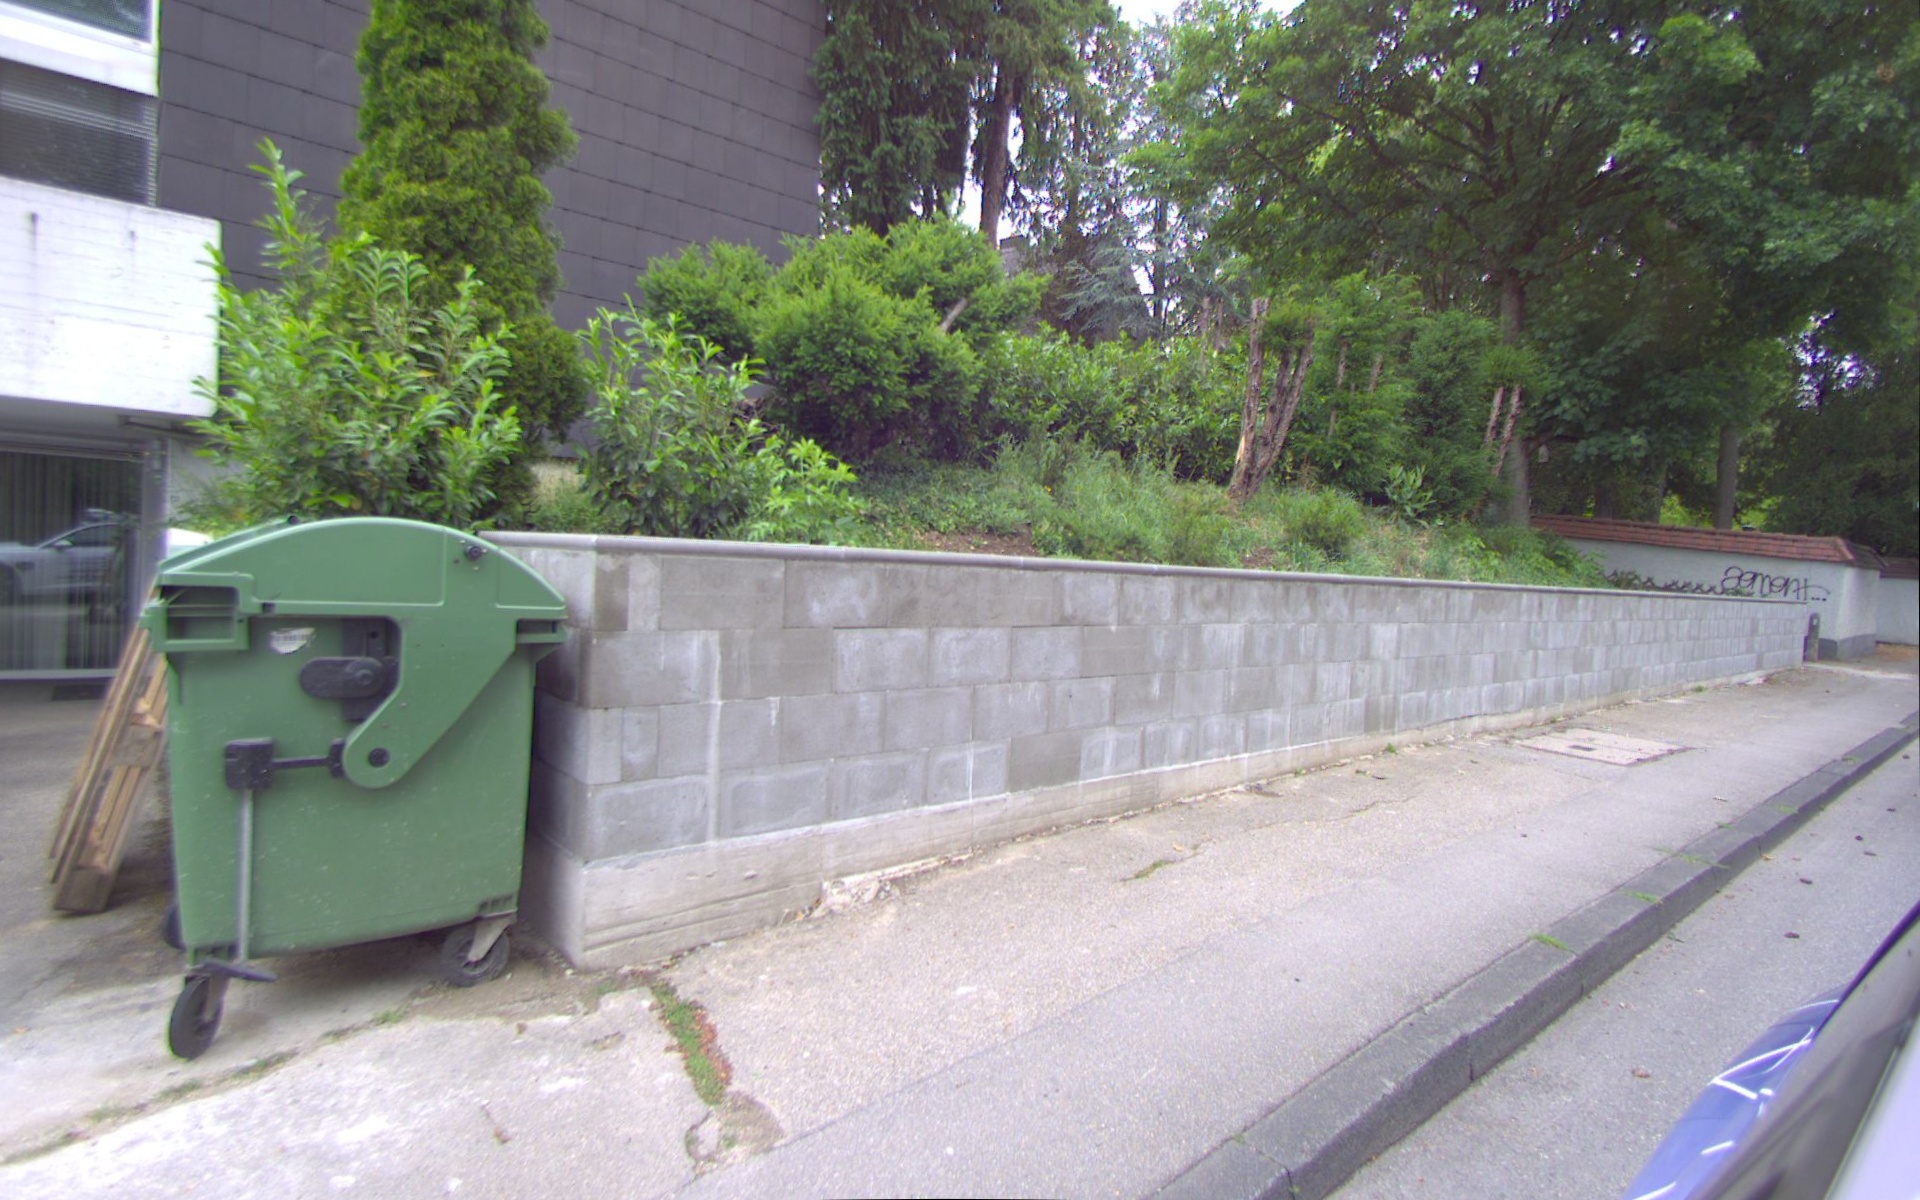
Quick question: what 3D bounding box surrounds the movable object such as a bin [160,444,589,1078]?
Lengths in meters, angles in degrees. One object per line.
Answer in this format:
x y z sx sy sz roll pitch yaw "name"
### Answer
-1.865 0.372 3.188 1.014 1.549 1.037 0 2 -39 "movable object such as a bin"
